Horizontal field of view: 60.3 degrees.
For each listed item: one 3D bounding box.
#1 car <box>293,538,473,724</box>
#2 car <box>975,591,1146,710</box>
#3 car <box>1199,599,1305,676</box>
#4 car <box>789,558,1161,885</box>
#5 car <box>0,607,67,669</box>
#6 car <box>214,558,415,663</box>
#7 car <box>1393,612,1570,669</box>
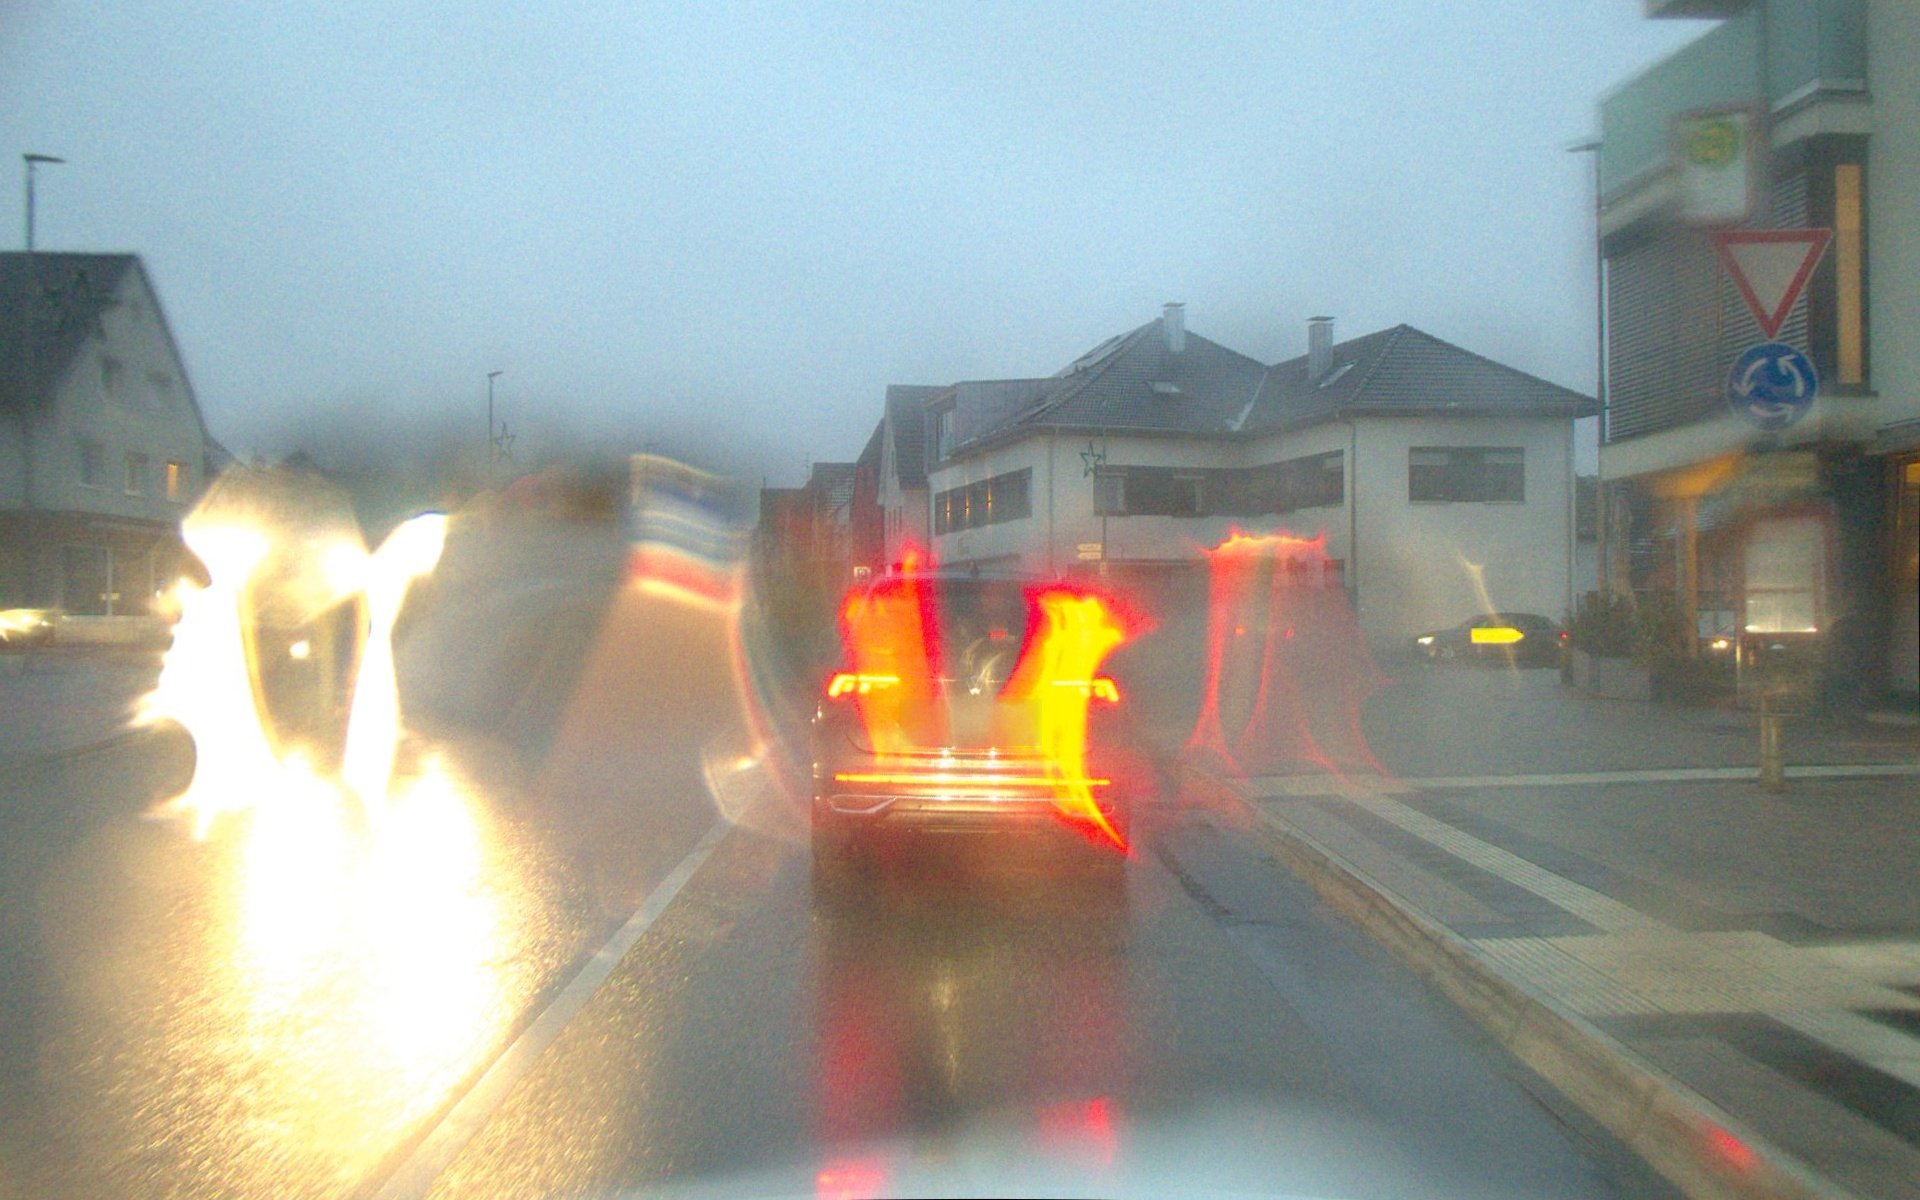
[{"bbox_3d":[-6.428,0.316,18.587,1.692,1.844,4.114,1,0,-18],"label":"car"},{"bbox_3d":[1.534,0.649,23.780,1.740,1.566,3.935,0,0,14],"label":"car"},{"bbox_3d":[7.148,0.880,40.886,1.785,1.656,3.999,-2,1,-2],"label":"car"},{"bbox_3d":[-0.043,0.608,10.357,1.878,1.643,3.947,1,0,-4],"label":"car"},{"bbox_3d":[-23.616,0.918,39.389,3.748,1.447,1.715,0,-2,1],"label":"car"},{"bbox_3d":[-13.518,0.201,34.502,4.813,2.049,1.988,0,0,42],"label":"car"},{"bbox_3d":[13.973,1.106,44.448,4.137,1.408,1.849,1,-3,-4],"label":"car"}]
